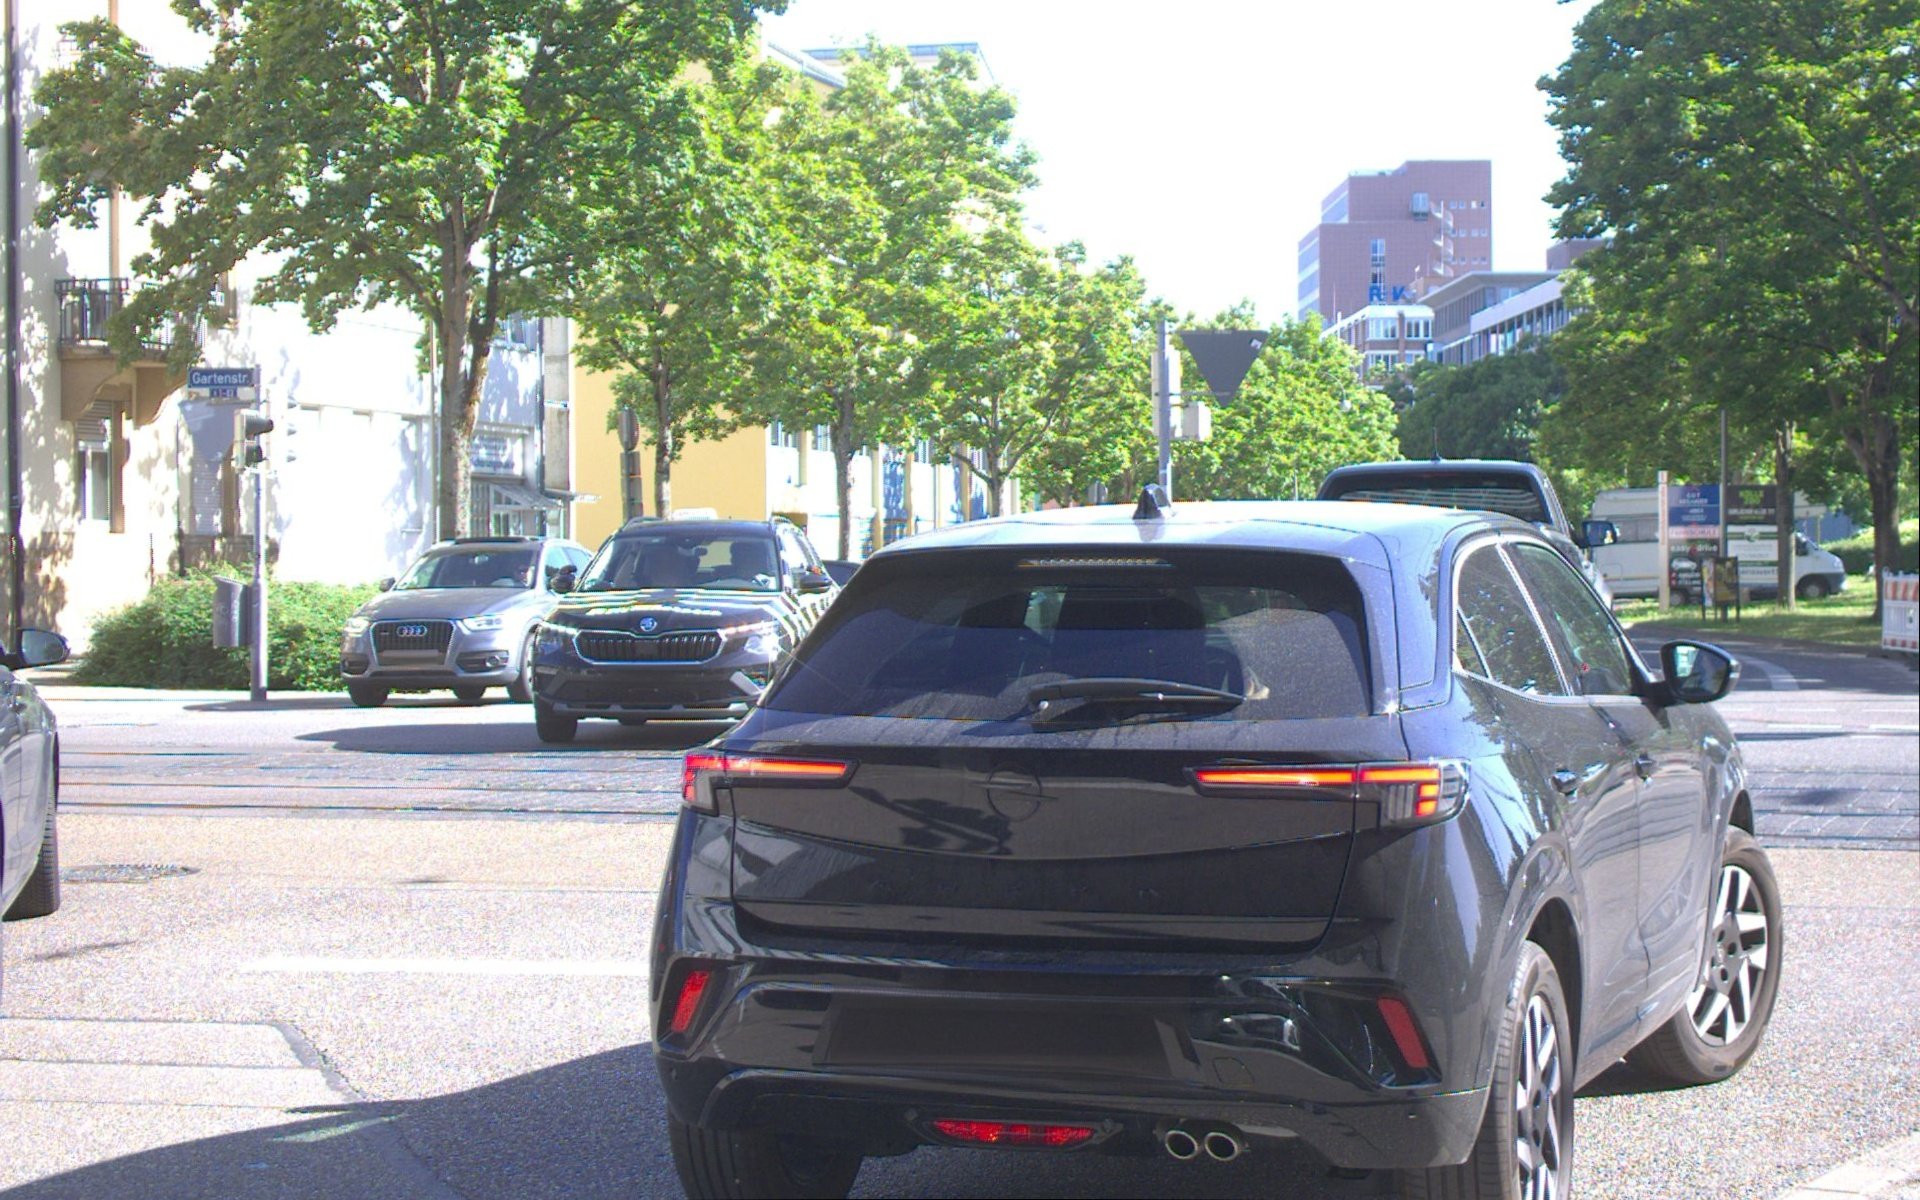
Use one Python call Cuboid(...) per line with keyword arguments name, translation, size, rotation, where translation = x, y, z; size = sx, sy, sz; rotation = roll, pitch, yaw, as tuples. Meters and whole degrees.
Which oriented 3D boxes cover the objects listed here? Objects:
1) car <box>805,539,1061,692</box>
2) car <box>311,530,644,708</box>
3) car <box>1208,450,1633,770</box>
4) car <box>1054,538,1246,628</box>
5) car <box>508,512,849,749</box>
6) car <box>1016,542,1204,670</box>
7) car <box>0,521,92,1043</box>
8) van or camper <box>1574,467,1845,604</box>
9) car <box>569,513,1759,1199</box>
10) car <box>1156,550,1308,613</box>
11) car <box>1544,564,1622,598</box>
Cuboid(name="car", translation=(-0.204, 0.117, 34.414), size=(1.709, 1.447, 3.848), rotation=(0, 1, 13))
Cuboid(name="car", translation=(-4.585, 0.141, 33.293), size=(1.885, 1.604, 4.146), rotation=(0, 1, 12))
Cuboid(name="car", translation=(3.116, 0.021, 22.274), size=(2.134, 1.829, 4.937), rotation=(0, 1, 15))
Cuboid(name="car", translation=(5.615, -0.502, 101.736), size=(5.259, 2.537, 1.986), rotation=(-1, 0, -14))
Cuboid(name="car", translation=(-1.879, 0.167, 24.157), size=(1.788, 1.508, 4.116), rotation=(0, 1, 4))
Cuboid(name="car", translation=(1.964, 0.048, 43.996), size=(1.706, 1.507, 3.861), rotation=(-2, 0, 12))
Cuboid(name="car", translation=(-3.934, 0.487, 11.312), size=(1.800, 1.446, 4.328), rotation=(-1, 2, -10))
Cuboid(name="van or camper", translation=(17.797, -1.513, 81.959), size=(6.081, 2.919, 2.574), rotation=(-3, 0, 11))
Cuboid(name="car", translation=(0.726, 0.574, 7.990), size=(1.783, 1.512, 3.752), rotation=(1, 1, 20))
Cuboid(name="car", translation=(9.446, -0.646, 119.510), size=(4.883, 2.076, 1.986), rotation=(-1, 0, -23))
Cuboid(name="car", translation=(26.963, -0.824, 148.822), size=(3.245, 1.273, 1.516), rotation=(-3, 0, 10))
